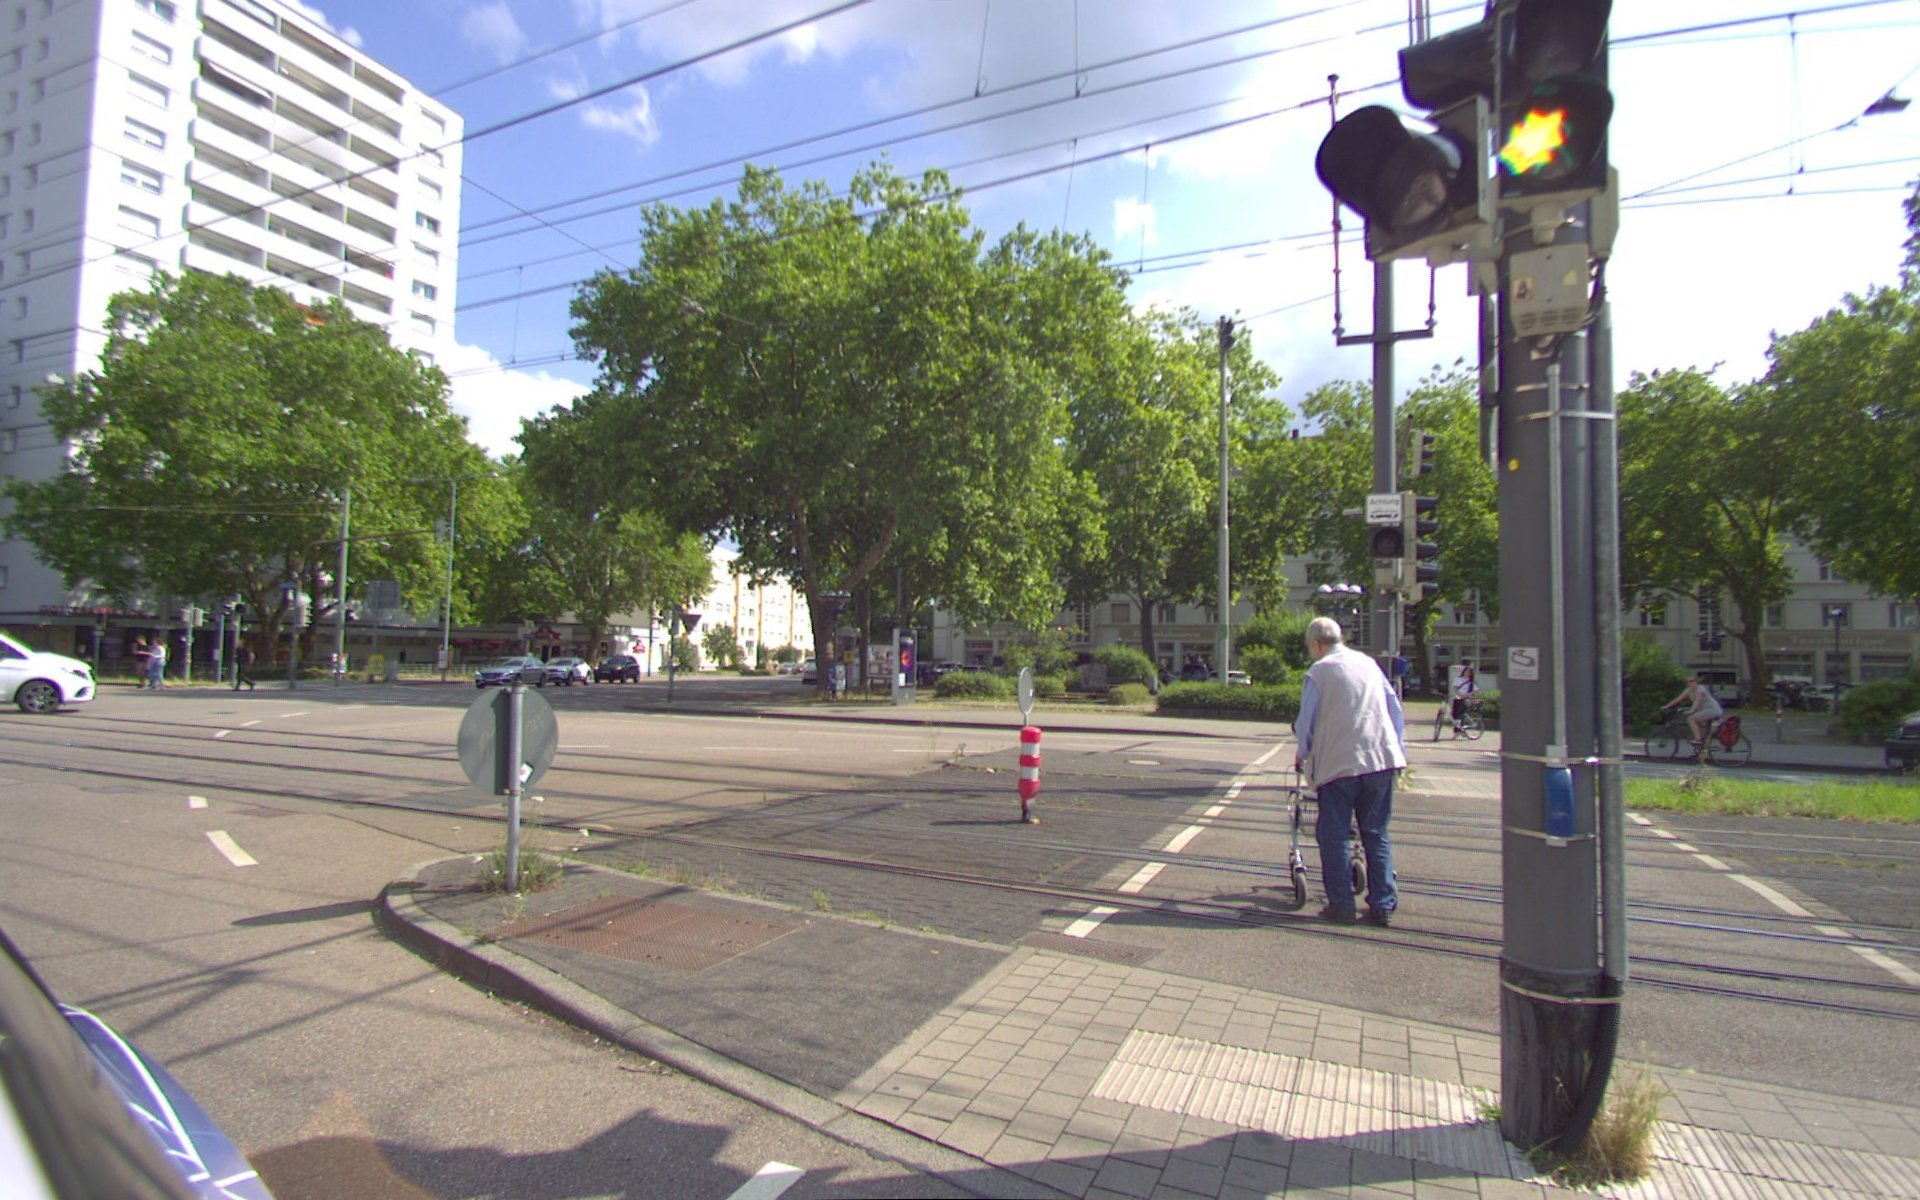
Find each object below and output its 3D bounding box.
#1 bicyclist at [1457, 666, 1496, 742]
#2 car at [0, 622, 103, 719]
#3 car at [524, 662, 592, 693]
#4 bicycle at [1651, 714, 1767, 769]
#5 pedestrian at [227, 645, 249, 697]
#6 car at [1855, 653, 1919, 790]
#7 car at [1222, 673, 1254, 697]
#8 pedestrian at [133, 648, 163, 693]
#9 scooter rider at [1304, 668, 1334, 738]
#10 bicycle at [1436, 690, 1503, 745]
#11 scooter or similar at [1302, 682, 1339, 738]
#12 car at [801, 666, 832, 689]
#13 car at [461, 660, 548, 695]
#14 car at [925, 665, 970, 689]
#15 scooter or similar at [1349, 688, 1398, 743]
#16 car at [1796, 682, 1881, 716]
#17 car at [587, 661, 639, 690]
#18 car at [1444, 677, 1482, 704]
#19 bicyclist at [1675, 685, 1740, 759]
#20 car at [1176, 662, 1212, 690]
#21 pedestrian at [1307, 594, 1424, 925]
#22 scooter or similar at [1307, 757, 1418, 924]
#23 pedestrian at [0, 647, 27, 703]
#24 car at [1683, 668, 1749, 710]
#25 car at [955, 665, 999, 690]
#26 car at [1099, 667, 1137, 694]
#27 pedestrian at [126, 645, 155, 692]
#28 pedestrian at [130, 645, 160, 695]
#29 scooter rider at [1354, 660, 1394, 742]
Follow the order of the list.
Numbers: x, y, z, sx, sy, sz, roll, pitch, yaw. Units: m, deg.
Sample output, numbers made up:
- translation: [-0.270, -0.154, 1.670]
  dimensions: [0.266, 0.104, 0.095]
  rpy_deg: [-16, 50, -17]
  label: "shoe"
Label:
- translation: [11.769, 2.350, 23.060]
  dimensions: [0.573, 1.681, 0.509]
  rpy_deg: [1, -2, -28]
  label: "bicyclist"
- translation: [-20.360, 1.367, 20.012]
  dimensions: [5.090, 1.906, 2.003]
  rpy_deg: [4, -5, -40]
  label: "car"
- translation: [-20.834, 4.007, 52.603]
  dimensions: [1.835, 1.501, 4.074]
  rpy_deg: [1, -4, 1]
  label: "car"
- translation: [14.226, 2.676, 19.277]
  dimensions: [1.711, 0.928, 0.466]
  rpy_deg: [-1, -4, 31]
  label: "bicycle"
- translation: [-26.021, 2.546, 36.491]
  dimensions: [0.473, 1.839, 0.558]
  rpy_deg: [3, -4, -25]
  label: "pedestrian"
- translation: [16.847, 1.756, 14.657]
  dimensions: [5.300, 2.002, 2.065]
  rpy_deg: [-2, -5, 23]
  label: "car"
- translation: [17.549, 5.339, 63.838]
  dimensions: [1.853, 1.364, 3.920]
  rpy_deg: [0, -4, 17]
  label: "car"
- translation: [-29.157, 2.526, 36.338]
  dimensions: [0.549, 1.610, 0.511]
  rpy_deg: [1, -4, 2]
  label: "pedestrian"
- translation: [8.426, 2.411, 23.749]
  dimensions: [0.537, 1.605, 0.437]
  rpy_deg: [0, -2, 1]
  label: "scooter rider"
- translation: [11.546, 2.645, 22.927]
  dimensions: [1.603, 1.121, 0.509]
  rpy_deg: [1, -2, -28]
  label: "bicycle"
- translation: [8.429, 2.561, 23.702]
  dimensions: [0.537, 1.235, 0.876]
  rpy_deg: [1, -2, 0]
  label: "scooter or similar"
- translation: [-10.105, 5.475, 71.610]
  dimensions: [1.666, 1.513, 4.000]
  rpy_deg: [1, -3, -1]
  label: "car"
- translation: [-20.684, 3.511, 46.171]
  dimensions: [1.838, 1.501, 3.992]
  rpy_deg: [0, -4, 6]
  label: "car"
- translation: [-0.874, 5.472, 72.262]
  dimensions: [1.838, 1.672, 4.054]
  rpy_deg: [0, -4, 21]
  label: "car"
- translation: [9.493, 2.631, 23.237]
  dimensions: [0.536, 1.180, 0.878]
  rpy_deg: [2, -3, -42]
  label: "scooter or similar"
- translation: [44.661, 4.995, 51.566]
  dimensions: [1.838, 1.545, 4.056]
  rpy_deg: [0, -4, 20]
  label: "car"
- translation: [-20.726, 4.501, 60.603]
  dimensions: [1.667, 1.632, 3.999]
  rpy_deg: [1, -4, 0]
  label: "car"
- translation: [34.022, 6.103, 68.529]
  dimensions: [1.838, 1.672, 4.056]
  rpy_deg: [0, -4, 20]
  label: "car"
- translation: [14.239, 2.309, 19.294]
  dimensions: [0.906, 1.354, 0.466]
  rpy_deg: [-2, -4, 31]
  label: "bicyclist"
- translation: [15.128, 4.900, 65.340]
  dimensions: [1.983, 1.697, 3.977]
  rpy_deg: [0, -4, 17]
  label: "car"
- translation: [2.266, 0.854, 5.706]
  dimensions: [0.553, 1.746, 0.525]
  rpy_deg: [0, -3, 18]
  label: "pedestrian"
- translation: [2.379, 1.397, 6.055]
  dimensions: [0.549, 0.810, 0.835]
  rpy_deg: [0, -4, 18]
  label: "scooter or similar"
- translation: [-29.380, 2.298, 31.174]
  dimensions: [0.644, 1.716, 0.666]
  rpy_deg: [-1, -4, 25]
  label: "pedestrian"
- translation: [40.164, 4.753, 53.859]
  dimensions: [2.246, 2.029, 3.893]
  rpy_deg: [-2, -7, 30]
  label: "car"
- translation: [1.261, 5.462, 71.482]
  dimensions: [1.838, 1.672, 4.054]
  rpy_deg: [0, -4, 21]
  label: "car"
- translation: [10.488, 5.284, 67.051]
  dimensions: [1.837, 1.672, 4.057]
  rpy_deg: [0, -4, 19]
  label: "car"
- translation: [-29.568, 2.467, 36.515]
  dimensions: [0.549, 1.683, 0.511]
  rpy_deg: [1, -4, 2]
  label: "pedestrian"
- translation: [-29.374, 2.519, 36.490]
  dimensions: [0.549, 1.749, 0.529]
  rpy_deg: [1, -4, 2]
  label: "pedestrian"
- translation: [9.502, 2.307, 23.246]
  dimensions: [0.536, 1.824, 0.680]
  rpy_deg: [2, -3, -42]
  label: "scooter rider"
